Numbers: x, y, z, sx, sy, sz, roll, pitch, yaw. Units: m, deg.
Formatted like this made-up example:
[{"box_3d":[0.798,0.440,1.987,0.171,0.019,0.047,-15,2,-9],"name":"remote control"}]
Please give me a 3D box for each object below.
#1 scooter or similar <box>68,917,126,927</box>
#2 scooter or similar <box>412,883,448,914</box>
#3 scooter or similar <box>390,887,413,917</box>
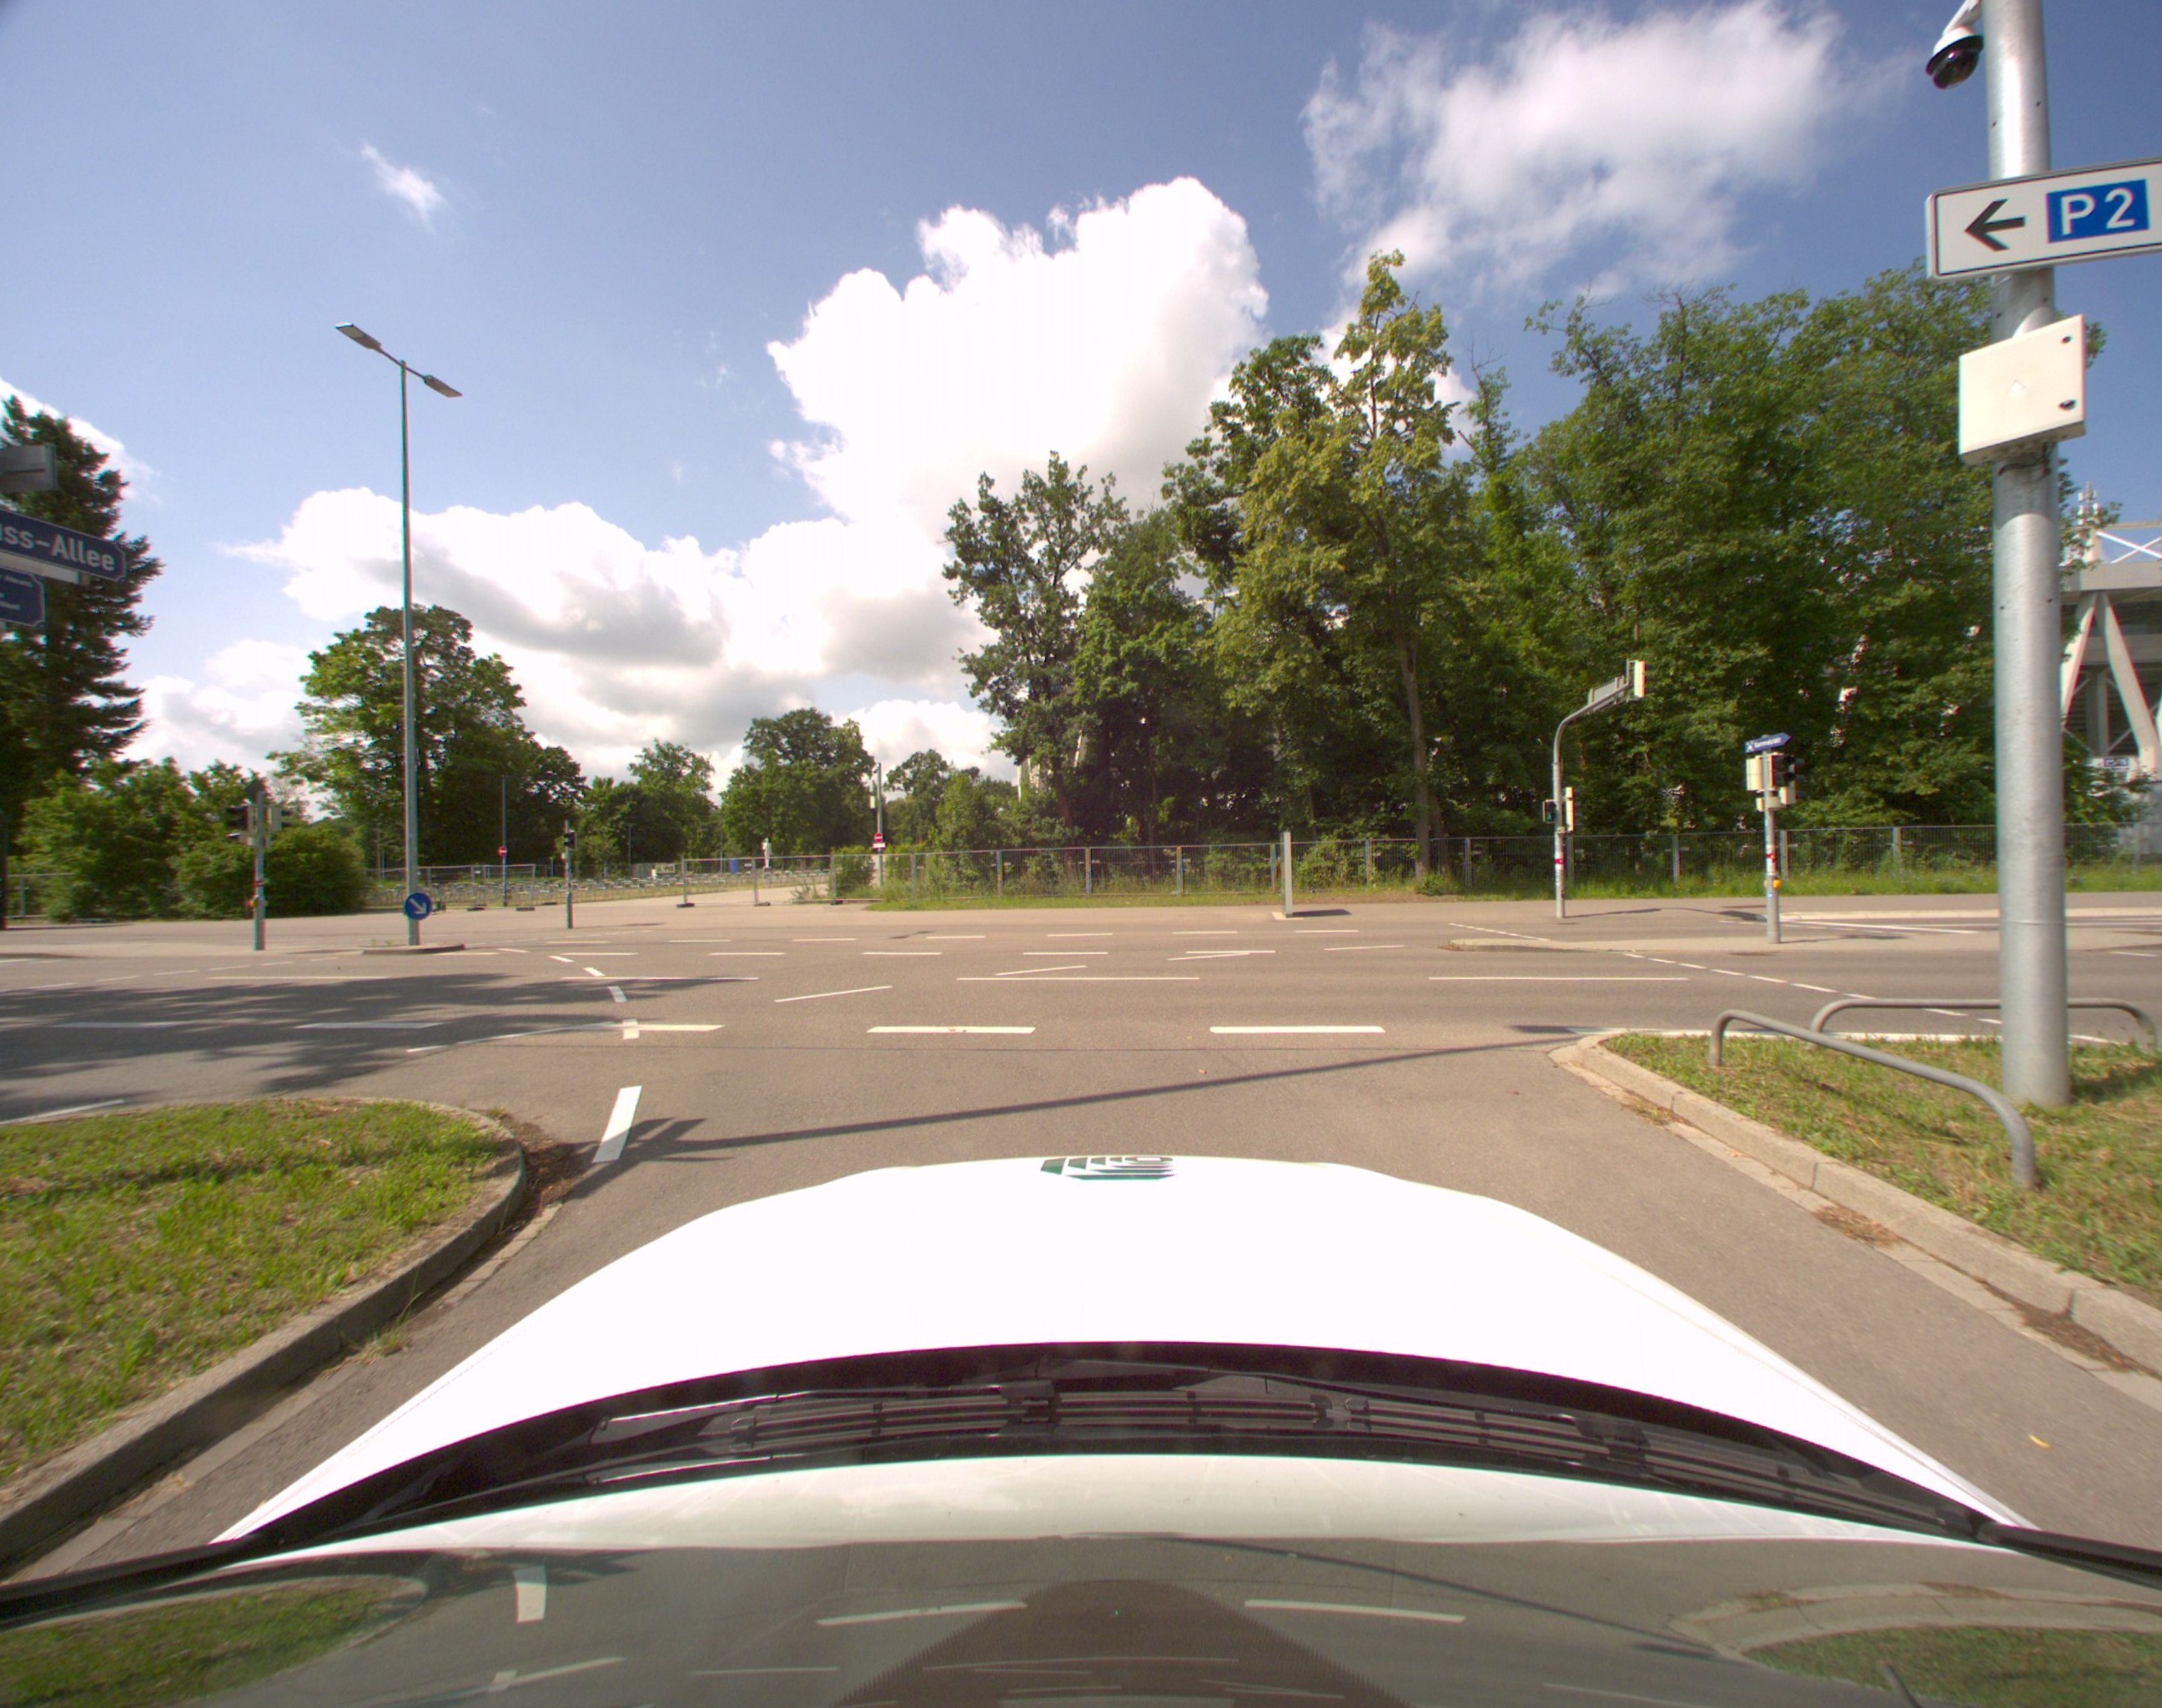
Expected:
[{"box_3d":[-40.868,2.816,33.839,1.461,0.389,0.857,-1,-6,8],"name":"scooter or similar"},{"box_3d":[-27.571,1.875,34.498,0.404,1.252,1.313,-2,0,3],"name":"scooter or similar"},{"box_3d":[-27.819,1.959,33.339,1.295,1.200,0.410,-2,0,37],"name":"scooter or similar"}]
